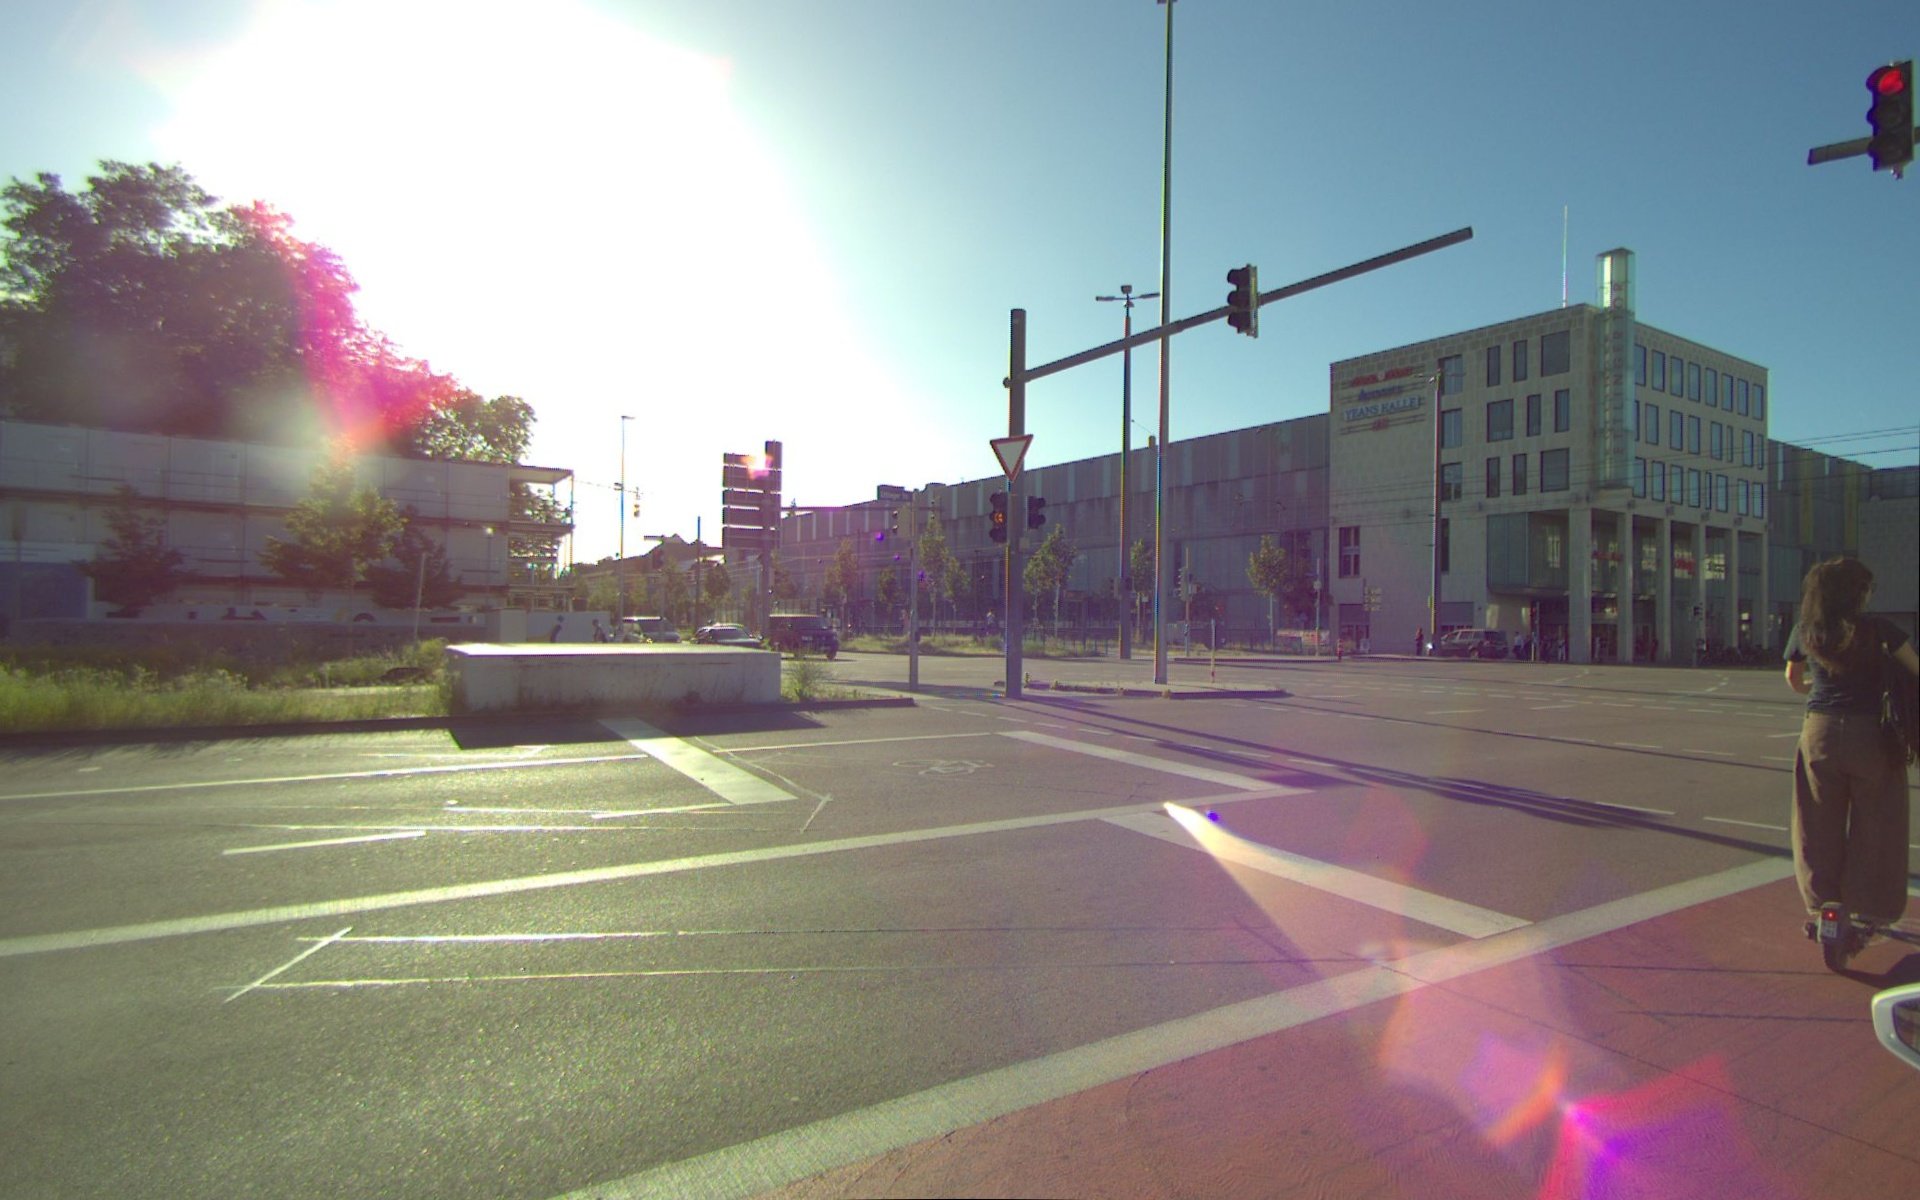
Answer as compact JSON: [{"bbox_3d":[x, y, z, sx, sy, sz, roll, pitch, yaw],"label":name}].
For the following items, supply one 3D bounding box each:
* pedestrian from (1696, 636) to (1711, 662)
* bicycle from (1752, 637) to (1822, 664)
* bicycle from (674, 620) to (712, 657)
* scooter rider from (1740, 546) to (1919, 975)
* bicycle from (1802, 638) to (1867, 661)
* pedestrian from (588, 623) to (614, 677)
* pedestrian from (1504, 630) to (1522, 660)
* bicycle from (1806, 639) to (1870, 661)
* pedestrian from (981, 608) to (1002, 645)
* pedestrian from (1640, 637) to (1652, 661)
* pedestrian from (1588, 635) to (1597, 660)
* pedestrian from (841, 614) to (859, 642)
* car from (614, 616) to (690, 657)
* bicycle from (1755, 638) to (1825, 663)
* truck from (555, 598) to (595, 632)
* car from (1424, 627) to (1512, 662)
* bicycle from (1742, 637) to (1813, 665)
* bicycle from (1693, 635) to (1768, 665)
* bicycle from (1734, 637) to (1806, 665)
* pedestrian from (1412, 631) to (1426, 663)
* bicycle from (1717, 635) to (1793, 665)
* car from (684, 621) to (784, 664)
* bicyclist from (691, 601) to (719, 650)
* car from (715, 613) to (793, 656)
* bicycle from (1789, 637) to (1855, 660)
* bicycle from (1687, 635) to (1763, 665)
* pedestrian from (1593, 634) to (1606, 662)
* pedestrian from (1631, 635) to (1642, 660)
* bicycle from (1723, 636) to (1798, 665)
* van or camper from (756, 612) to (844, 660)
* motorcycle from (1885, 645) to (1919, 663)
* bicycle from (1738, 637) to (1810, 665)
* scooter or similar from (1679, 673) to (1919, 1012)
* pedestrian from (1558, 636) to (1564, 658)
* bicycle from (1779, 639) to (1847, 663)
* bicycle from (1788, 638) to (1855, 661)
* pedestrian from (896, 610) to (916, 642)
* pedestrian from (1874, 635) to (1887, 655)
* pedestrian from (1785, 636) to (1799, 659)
[{"bbox_3d":[49.587,3.259,66.984,0.773,1.664,0.693,0,-1,32],"label":"pedestrian"},{"bbox_3d":[54.504,3.322,66.252,0.979,1.719,3.462,1,-2,-40],"label":"bicycle"},{"bbox_3d":[-15.148,2.146,56.911,1.007,2.040,3.472,1,-2,-33],"label":"bicycle"},{"bbox_3d":[4.234,0.680,4.659,0.801,1.798,0.725,1,-1,-30],"label":"scooter rider"},{"bbox_3d":[63.705,3.591,73.202,0.979,1.547,3.462,2,-2,-40],"label":"bicycle"},{"bbox_3d":[-11.263,1.558,31.512,0.619,1.674,0.935,1,-1,-30],"label":"pedestrian"},{"bbox_3d":[33.731,2.743,61.253,0.731,1.822,0.750,1,-1,-41],"label":"pedestrian"},{"bbox_3d":[64.505,3.647,73.851,0.979,1.547,3.462,2,-2,-40],"label":"bicycle"},{"bbox_3d":[1.583,1.341,50.593,0.788,1.855,0.706,1,-1,-37],"label":"pedestrian"},{"bbox_3d":[45.005,3.219,65.887,0.508,1.530,0.479,1,-1,-34],"label":"pedestrian"},{"bbox_3d":[40.043,3.002,63.602,0.363,1.606,0.384,1,-1,-34],"label":"pedestrian"},{"bbox_3d":[-7.205,1.824,65.779,0.889,1.855,0.787,1,-1,-35],"label":"pedestrian"},{"bbox_3d":[-14.808,1.703,48.114,1.981,1.849,4.821,1,-2,-36],"label":"car"},{"bbox_3d":[55.255,3.330,66.921,0.979,1.547,3.462,2,-2,-40],"label":"bicycle"},{"bbox_3d":[-33.479,1.328,87.250,1.979,2.875,6.293,1,-2,-33],"label":"truck"},{"bbox_3d":[27.214,2.337,53.975,1.964,1.629,4.473,1,0,-9],"label":"car"},{"bbox_3d":[52.858,3.260,64.962,0.979,1.719,3.462,1,-2,-40],"label":"bicycle"},{"bbox_3d":[46.612,3.021,60.826,1.107,1.719,3.465,1,-2,-38],"label":"bicycle"},{"bbox_3d":[51.119,3.191,63.424,0.979,1.719,3.462,1,-2,-40],"label":"bicycle"},{"bbox_3d":[24.405,2.490,53.390,0.543,1.716,0.521,1,-1,-40],"label":"pedestrian"},{"bbox_3d":[48.214,3.014,60.938,1.107,1.719,3.465,1,-2,-38],"label":"bicycle"},{"bbox_3d":[-9.399,1.704,41.512,2.313,1.671,4.821,1,-2,-37],"label":"car"},{"bbox_3d":[-14.210,1.432,55.902,1.007,2.677,1.610,1,-1,-34],"label":"bicyclist"},{"bbox_3d":[-10.391,1.695,50.418,1.981,2.040,4.821,1,-2,-36],"label":"car"},{"bbox_3d":[61.187,3.453,71.302,0.979,1.547,3.462,2,-2,-40],"label":"bicycle"},{"bbox_3d":[45.698,2.978,60.032,1.107,1.719,3.465,1,-2,-38],"label":"bicycle"},{"bbox_3d":[37.801,2.823,59.348,0.546,1.664,0.536,1,-1,-41],"label":"pedestrian"},{"bbox_3d":[44.357,3.135,65.862,0.508,1.606,0.479,1,-1,-34],"label":"pedestrian"},{"bbox_3d":[49.143,3.081,61.739,1.107,1.719,3.465,1,-2,-38],"label":"bicycle"},{"bbox_3d":[-7.317,1.593,45.625,1.981,2.040,4.821,1,-2,-36],"label":"van or camper"},{"bbox_3d":[70.745,4.019,75.084,0.713,1.335,2.260,1,-2,-34],"label":"motorcycle"},{"bbox_3d":[51.945,3.228,64.158,0.979,1.719,3.462,1,-2,-40],"label":"bicycle"},{"bbox_3d":[4.079,0.975,4.555,1.645,1.218,0.725,1,-1,-30],"label":"scooter or similar"},{"bbox_3d":[39.819,3.104,66.549,0.381,1.431,0.437,0,-1,32],"label":"pedestrian"},{"bbox_3d":[58.873,3.481,69.389,0.979,1.547,3.462,2,-2,-40],"label":"bicycle"},{"bbox_3d":[60.381,3.435,70.470,0.979,1.547,3.462,2,-2,-40],"label":"bicycle"},{"bbox_3d":[-3.228,1.554,59.940,0.889,1.855,0.787,1,-1,-35],"label":"pedestrian"},{"bbox_3d":[76.172,3.731,83.119,0.688,1.664,0.692,1,-1,-35],"label":"pedestrian"},{"bbox_3d":[61.004,3.479,73.681,0.689,1.664,0.648,1,-1,-38],"label":"pedestrian"}]
